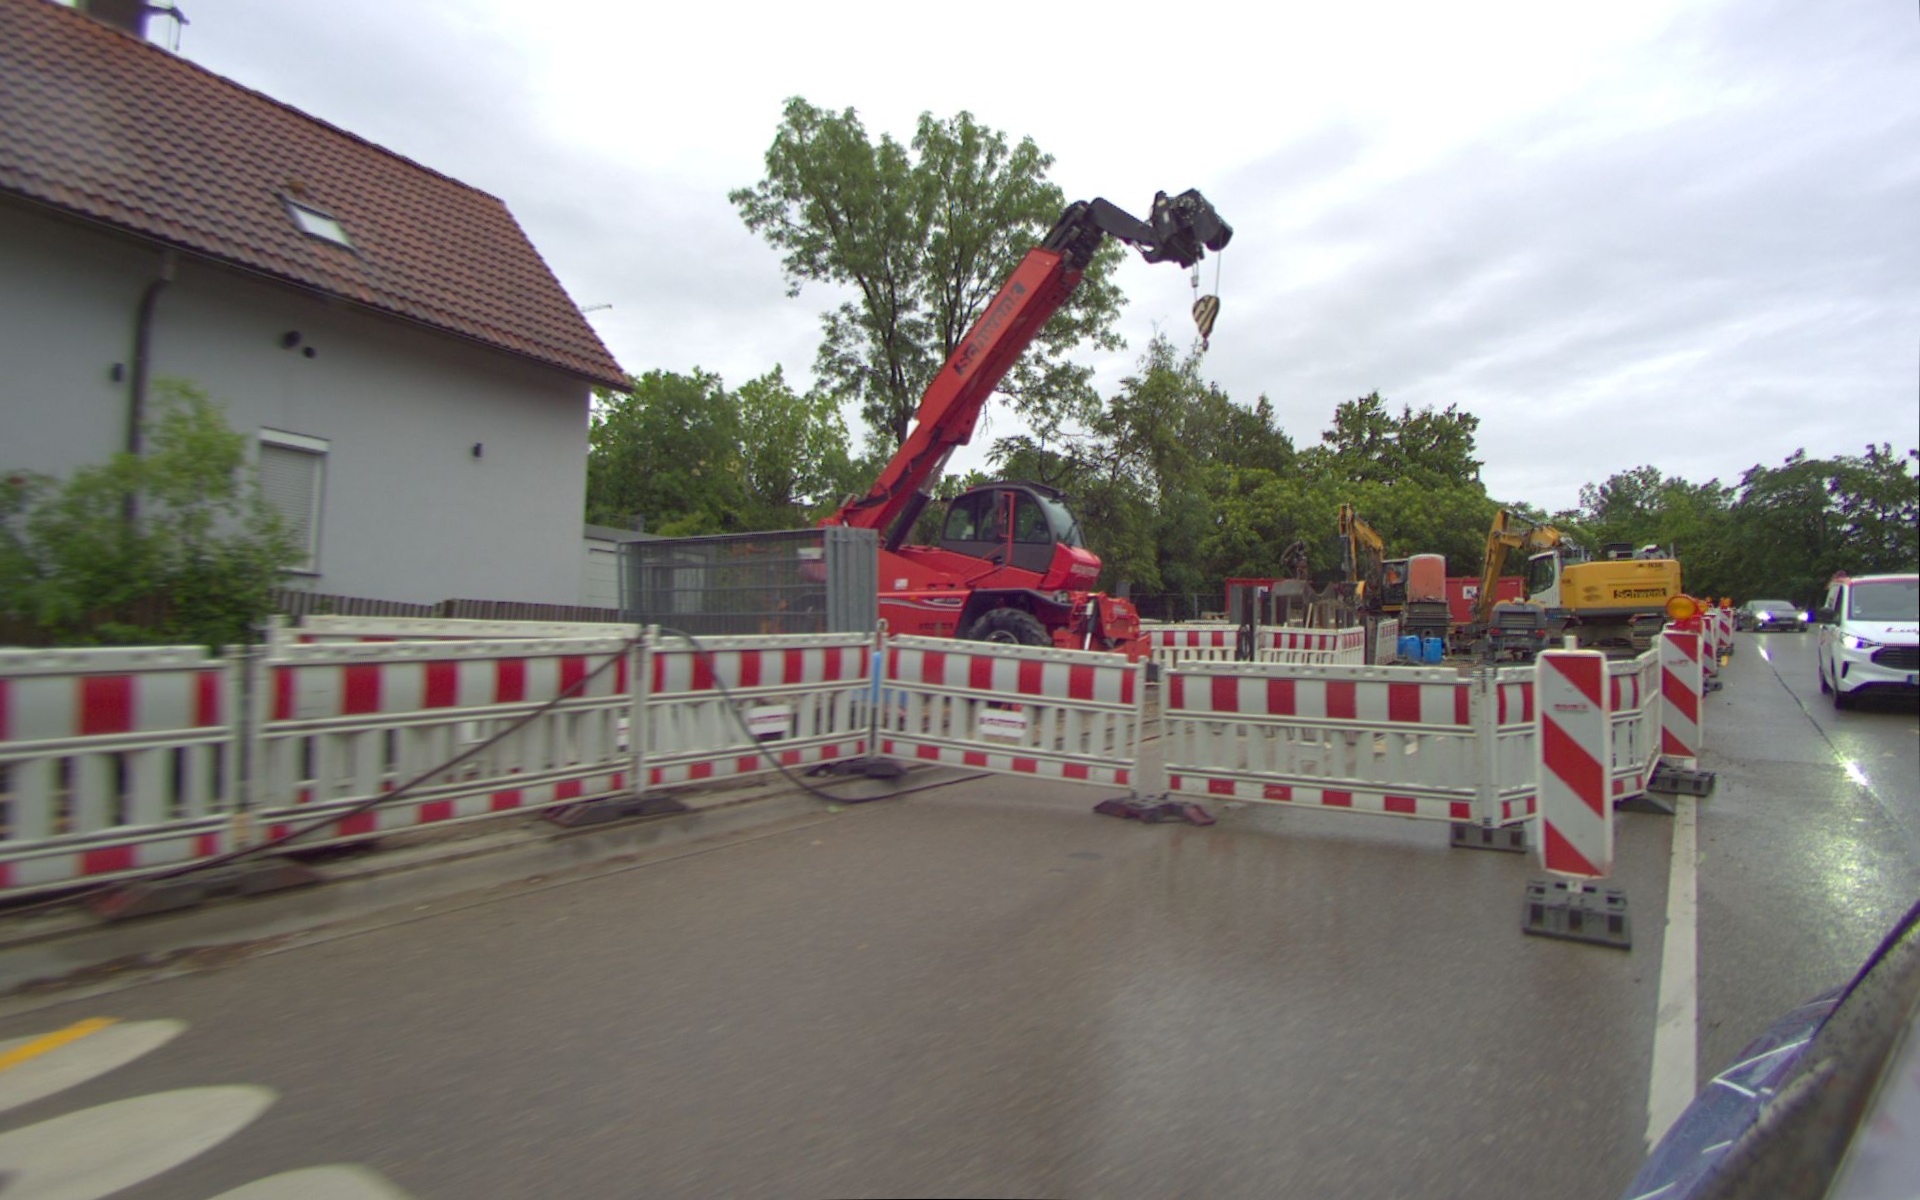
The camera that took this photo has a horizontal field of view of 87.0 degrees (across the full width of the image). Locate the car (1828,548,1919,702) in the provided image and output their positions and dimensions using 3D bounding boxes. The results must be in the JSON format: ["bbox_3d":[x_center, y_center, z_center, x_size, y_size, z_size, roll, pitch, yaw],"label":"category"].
[{"bbox_3d":[14.593,0.417,15.285,1.991,2.039,4.878,4,1,39],"label":"car"}]

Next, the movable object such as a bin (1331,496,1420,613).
[{"bbox_3d":[15.149,-1.527,36.769,1.987,3.939,4.558,-2,-1,35],"label":"movable object such as a bin"}]

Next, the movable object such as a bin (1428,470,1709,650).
[{"bbox_3d":[19.701,-1.293,34.026,3.010,4.979,10.818,-2,2,1],"label":"movable object such as a bin"}]

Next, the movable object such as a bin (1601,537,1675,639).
[{"bbox_3d":[23.694,-0.456,35.412,1.986,3.346,3.791,-1,2,34],"label":"movable object such as a bin"}]

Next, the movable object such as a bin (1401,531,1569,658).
[{"bbox_3d":[14.819,-0.035,28.719,3.963,3.248,2.381,-2,-7,29],"label":"movable object such as a bin"}]

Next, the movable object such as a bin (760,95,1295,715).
[{"bbox_3d":[0.751,-2.096,14.250,6.924,6.775,3.008,-1,-1,35],"label":"movable object such as a bin"}]
